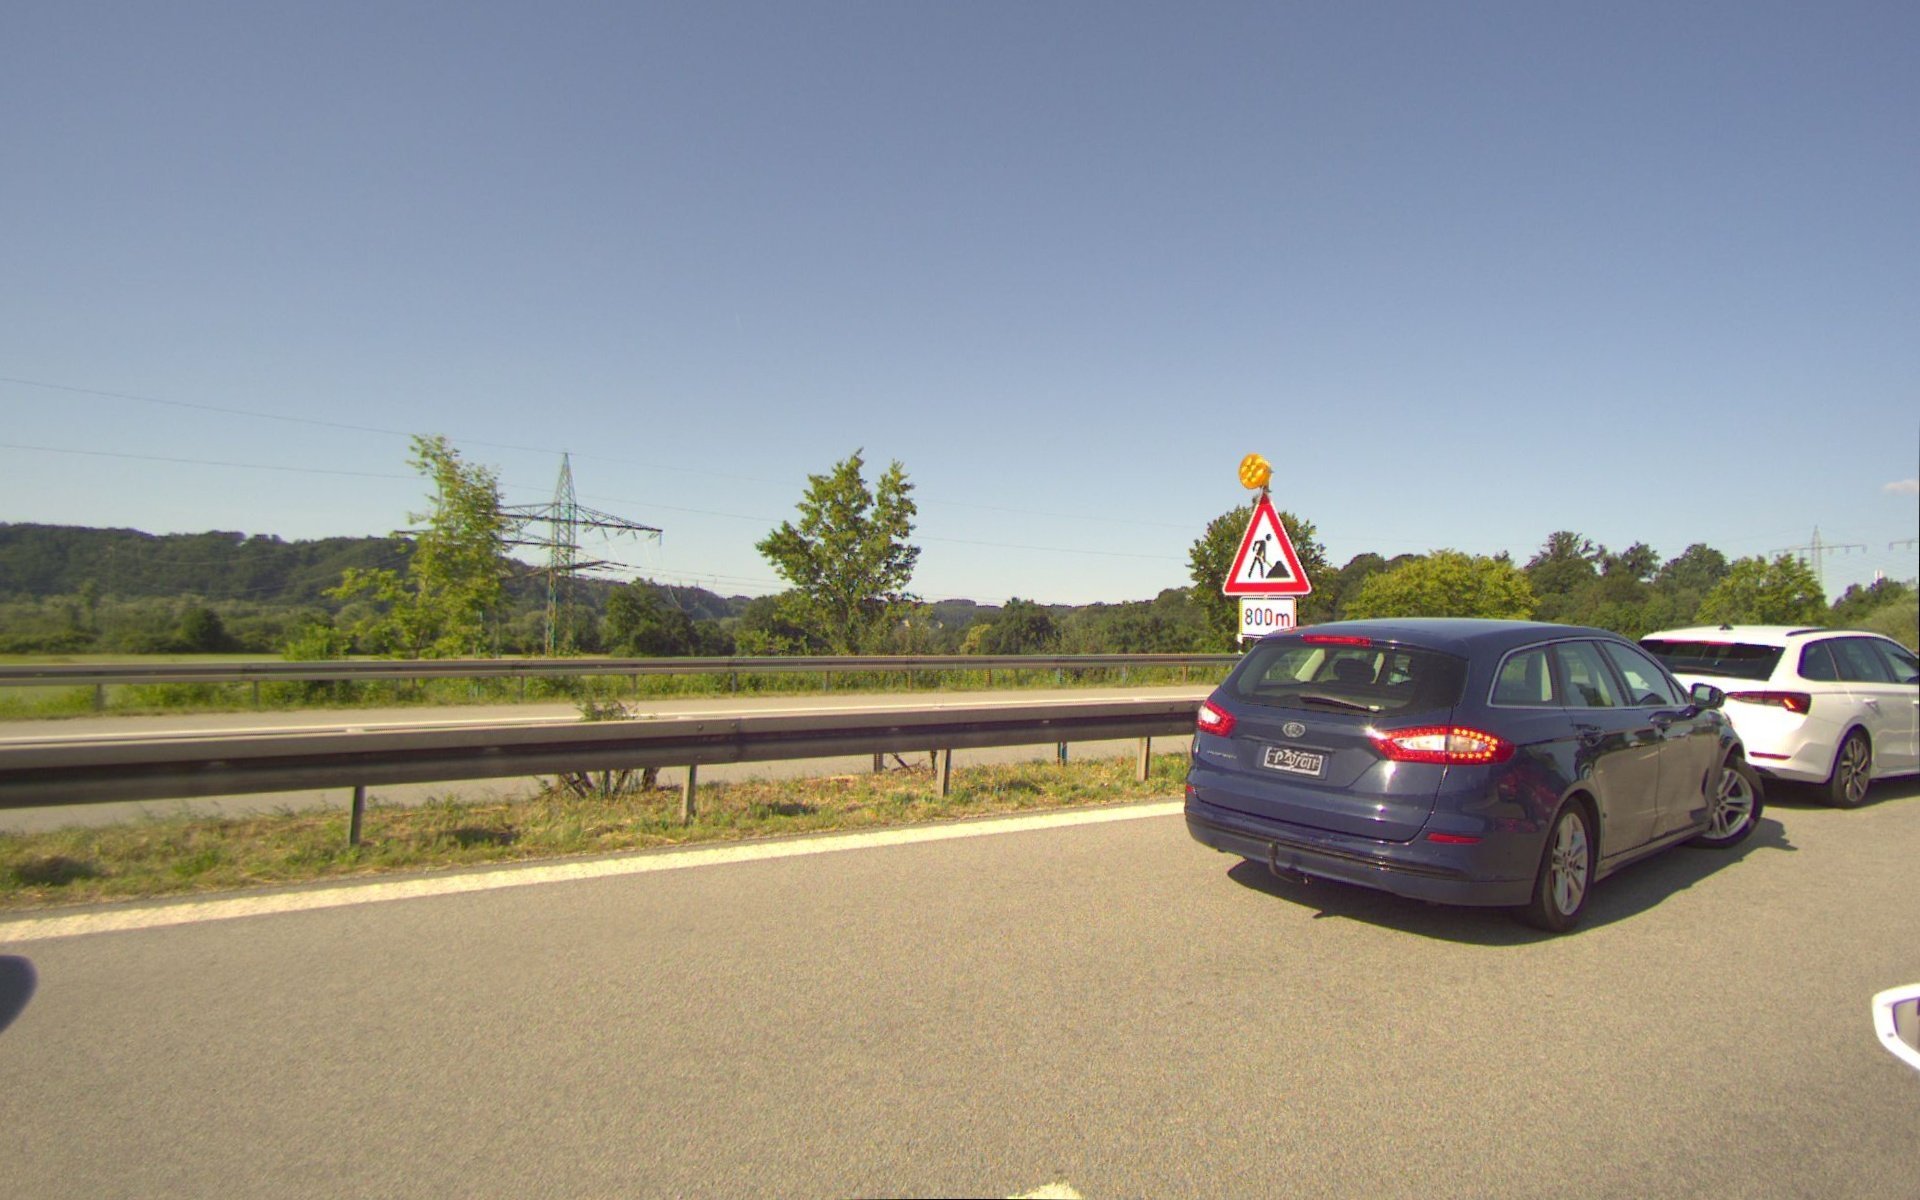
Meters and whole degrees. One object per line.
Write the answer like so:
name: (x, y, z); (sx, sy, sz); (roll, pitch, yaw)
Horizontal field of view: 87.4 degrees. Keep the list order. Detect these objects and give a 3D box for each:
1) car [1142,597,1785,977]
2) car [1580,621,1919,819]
car: (3.277, 0.838, 6.103); (4.453, 1.513, 1.774); (3, -2, -38)
car: (7.822, 0.966, 9.363); (4.159, 1.461, 1.687); (1, 0, -29)
